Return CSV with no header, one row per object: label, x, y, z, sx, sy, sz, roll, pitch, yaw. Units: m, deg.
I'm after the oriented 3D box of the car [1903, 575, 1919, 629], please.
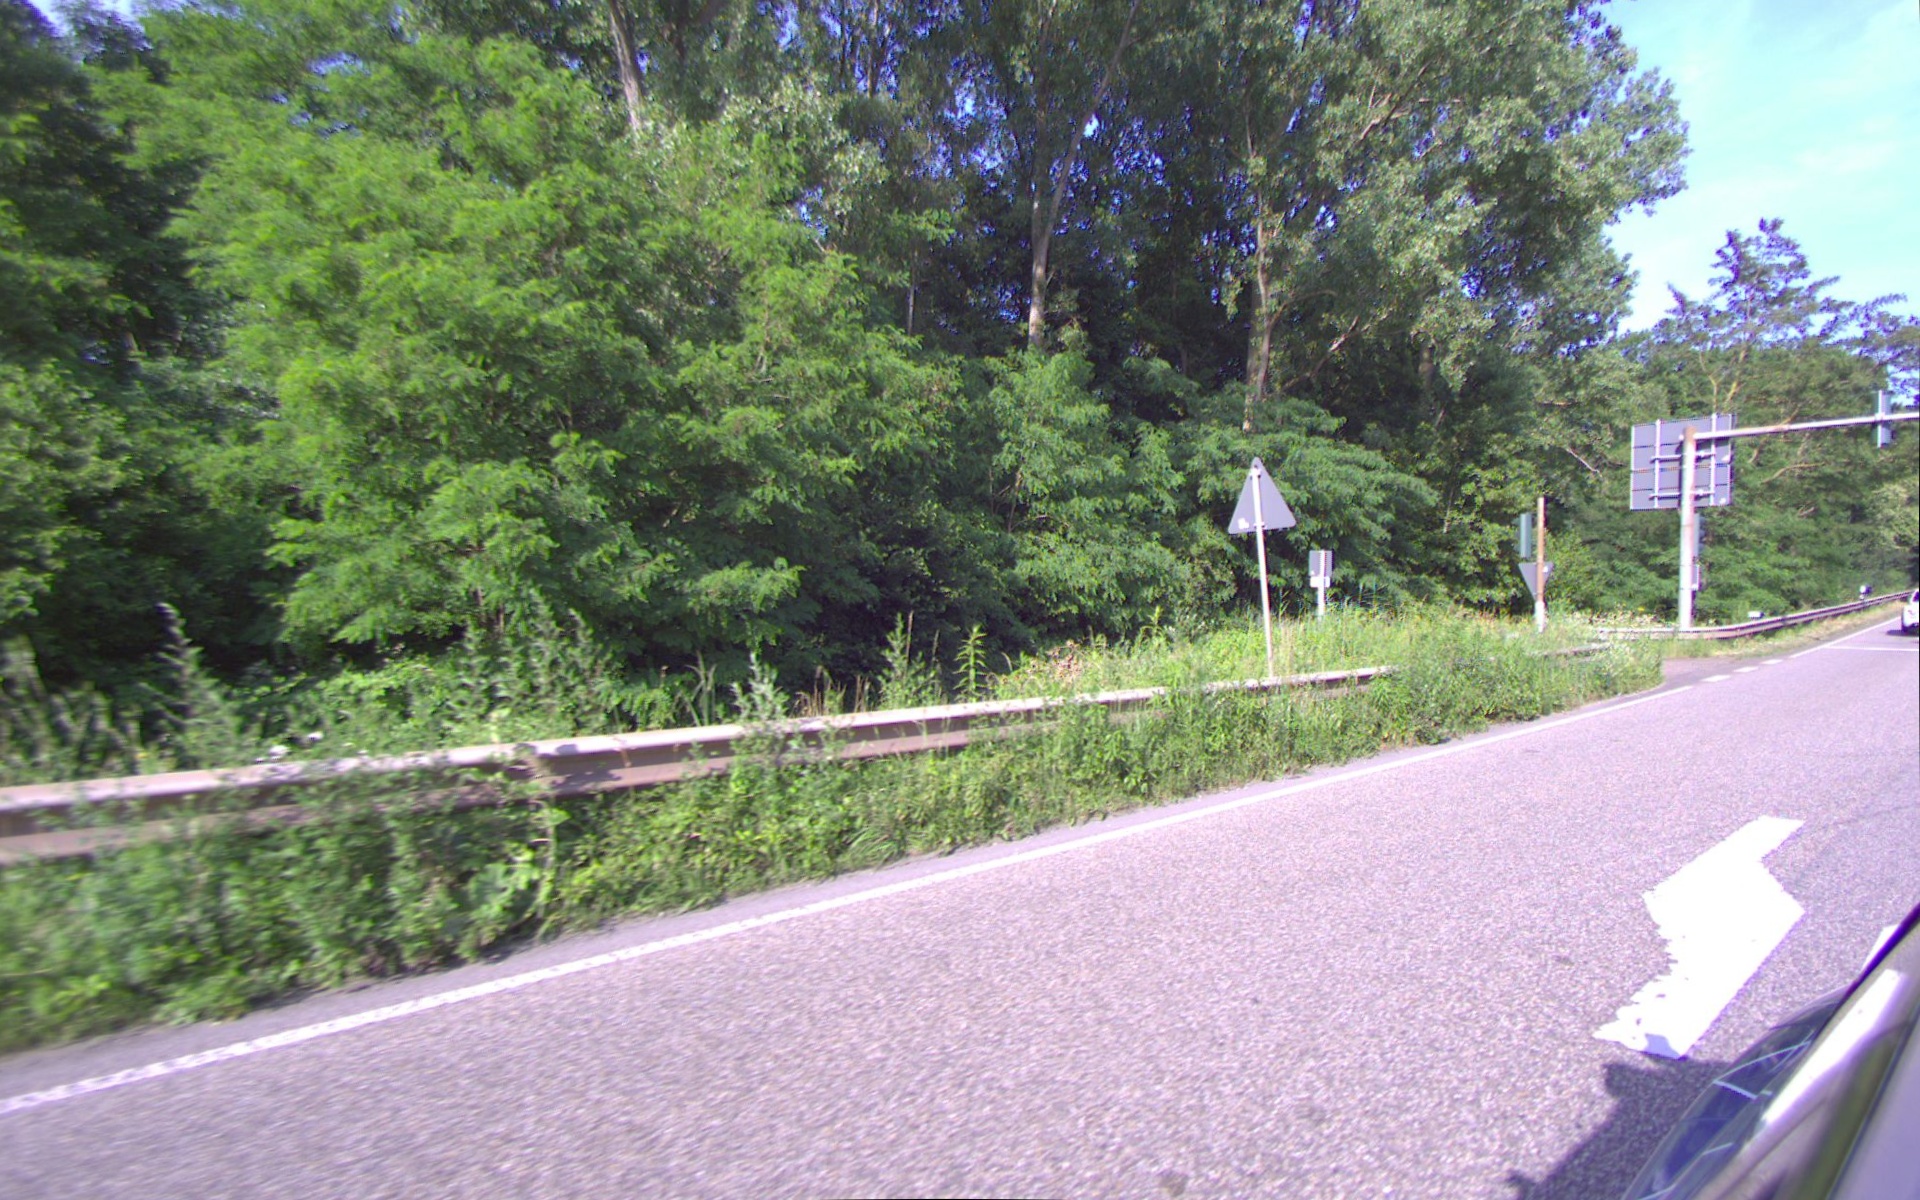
car,31.868,0.048,32.438,4.750,1.654,1.874,-1,3,-41
